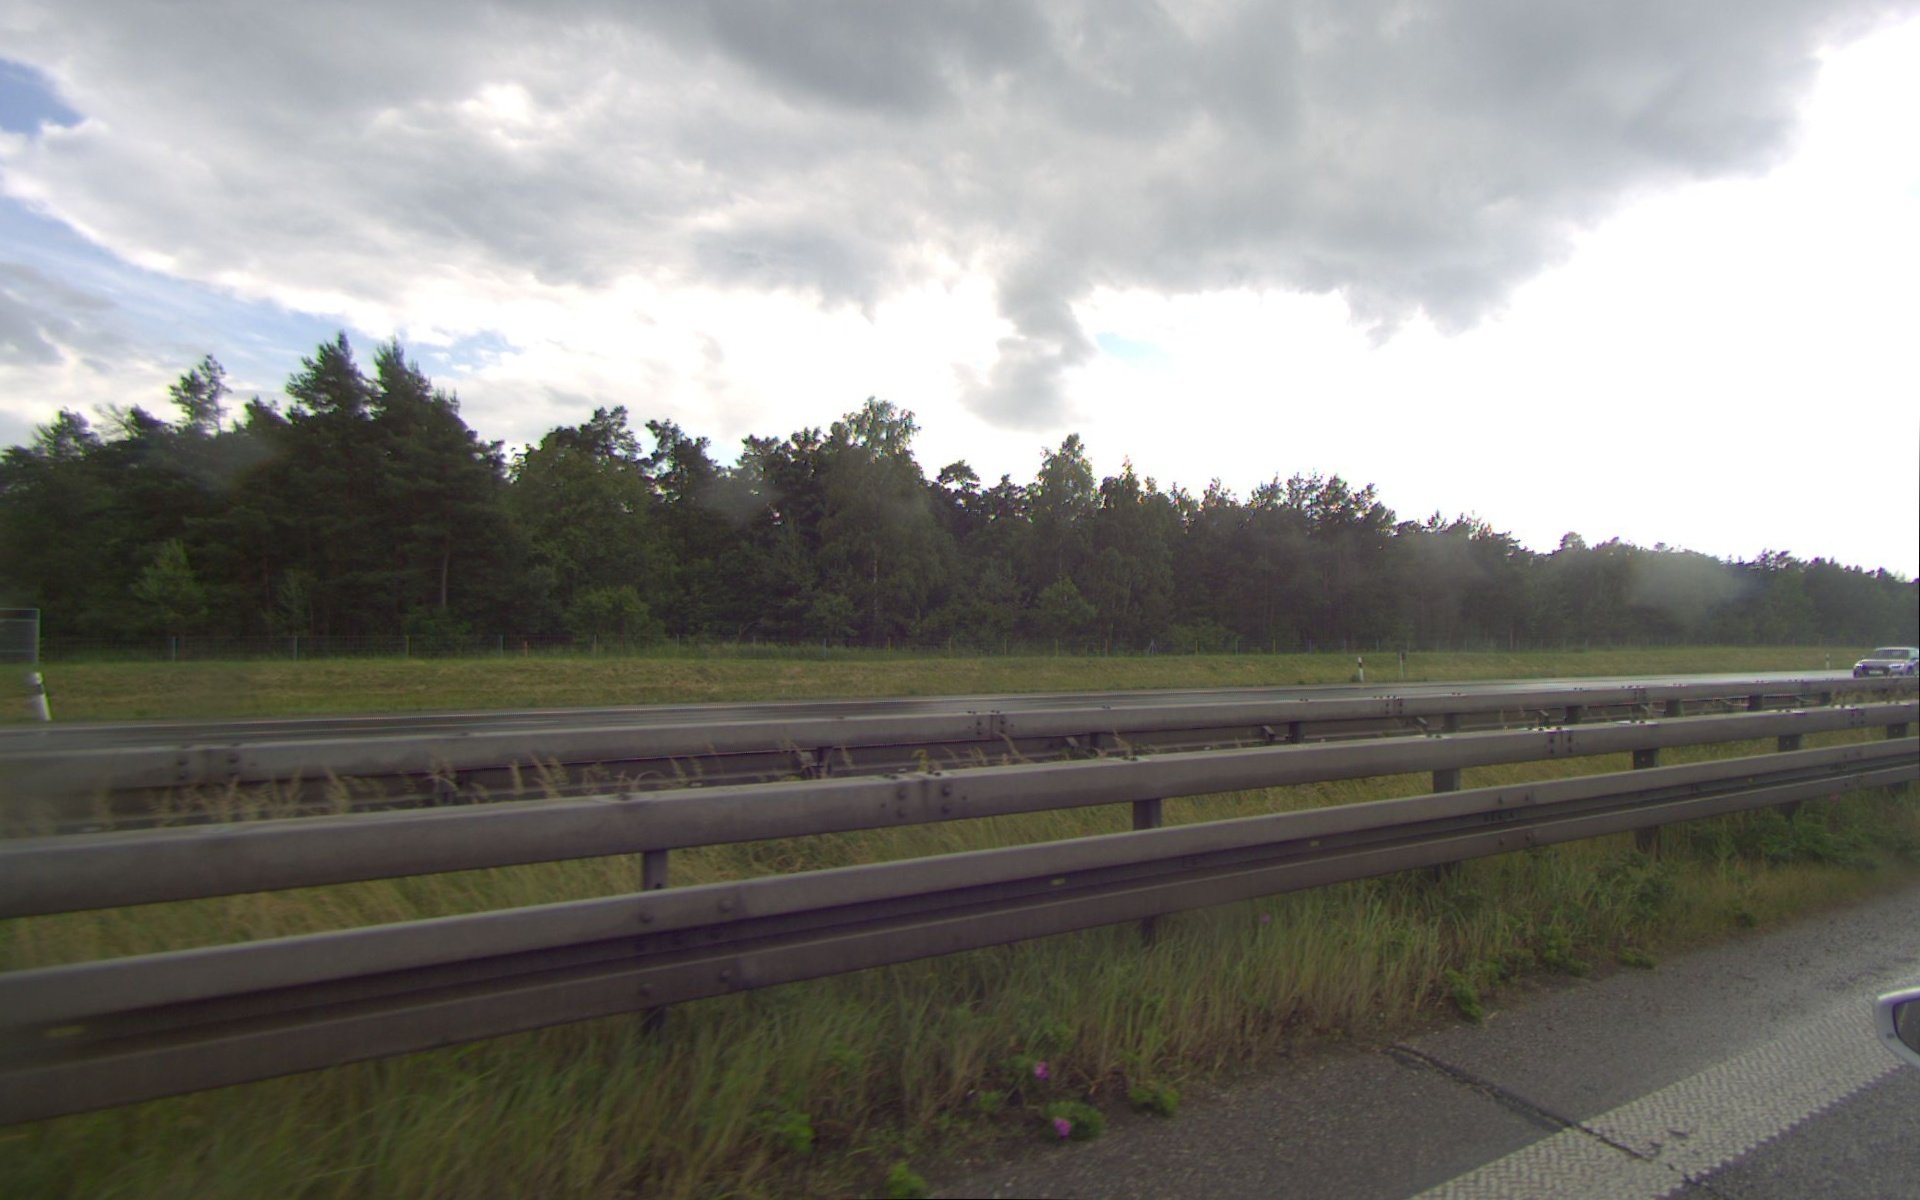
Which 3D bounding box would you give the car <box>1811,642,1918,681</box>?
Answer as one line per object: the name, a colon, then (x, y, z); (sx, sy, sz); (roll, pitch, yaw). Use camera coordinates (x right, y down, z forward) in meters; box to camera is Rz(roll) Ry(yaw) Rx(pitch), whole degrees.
car: (37.242, 2.521, 41.336); (4.555, 1.520, 1.984); (1, -3, -31)
